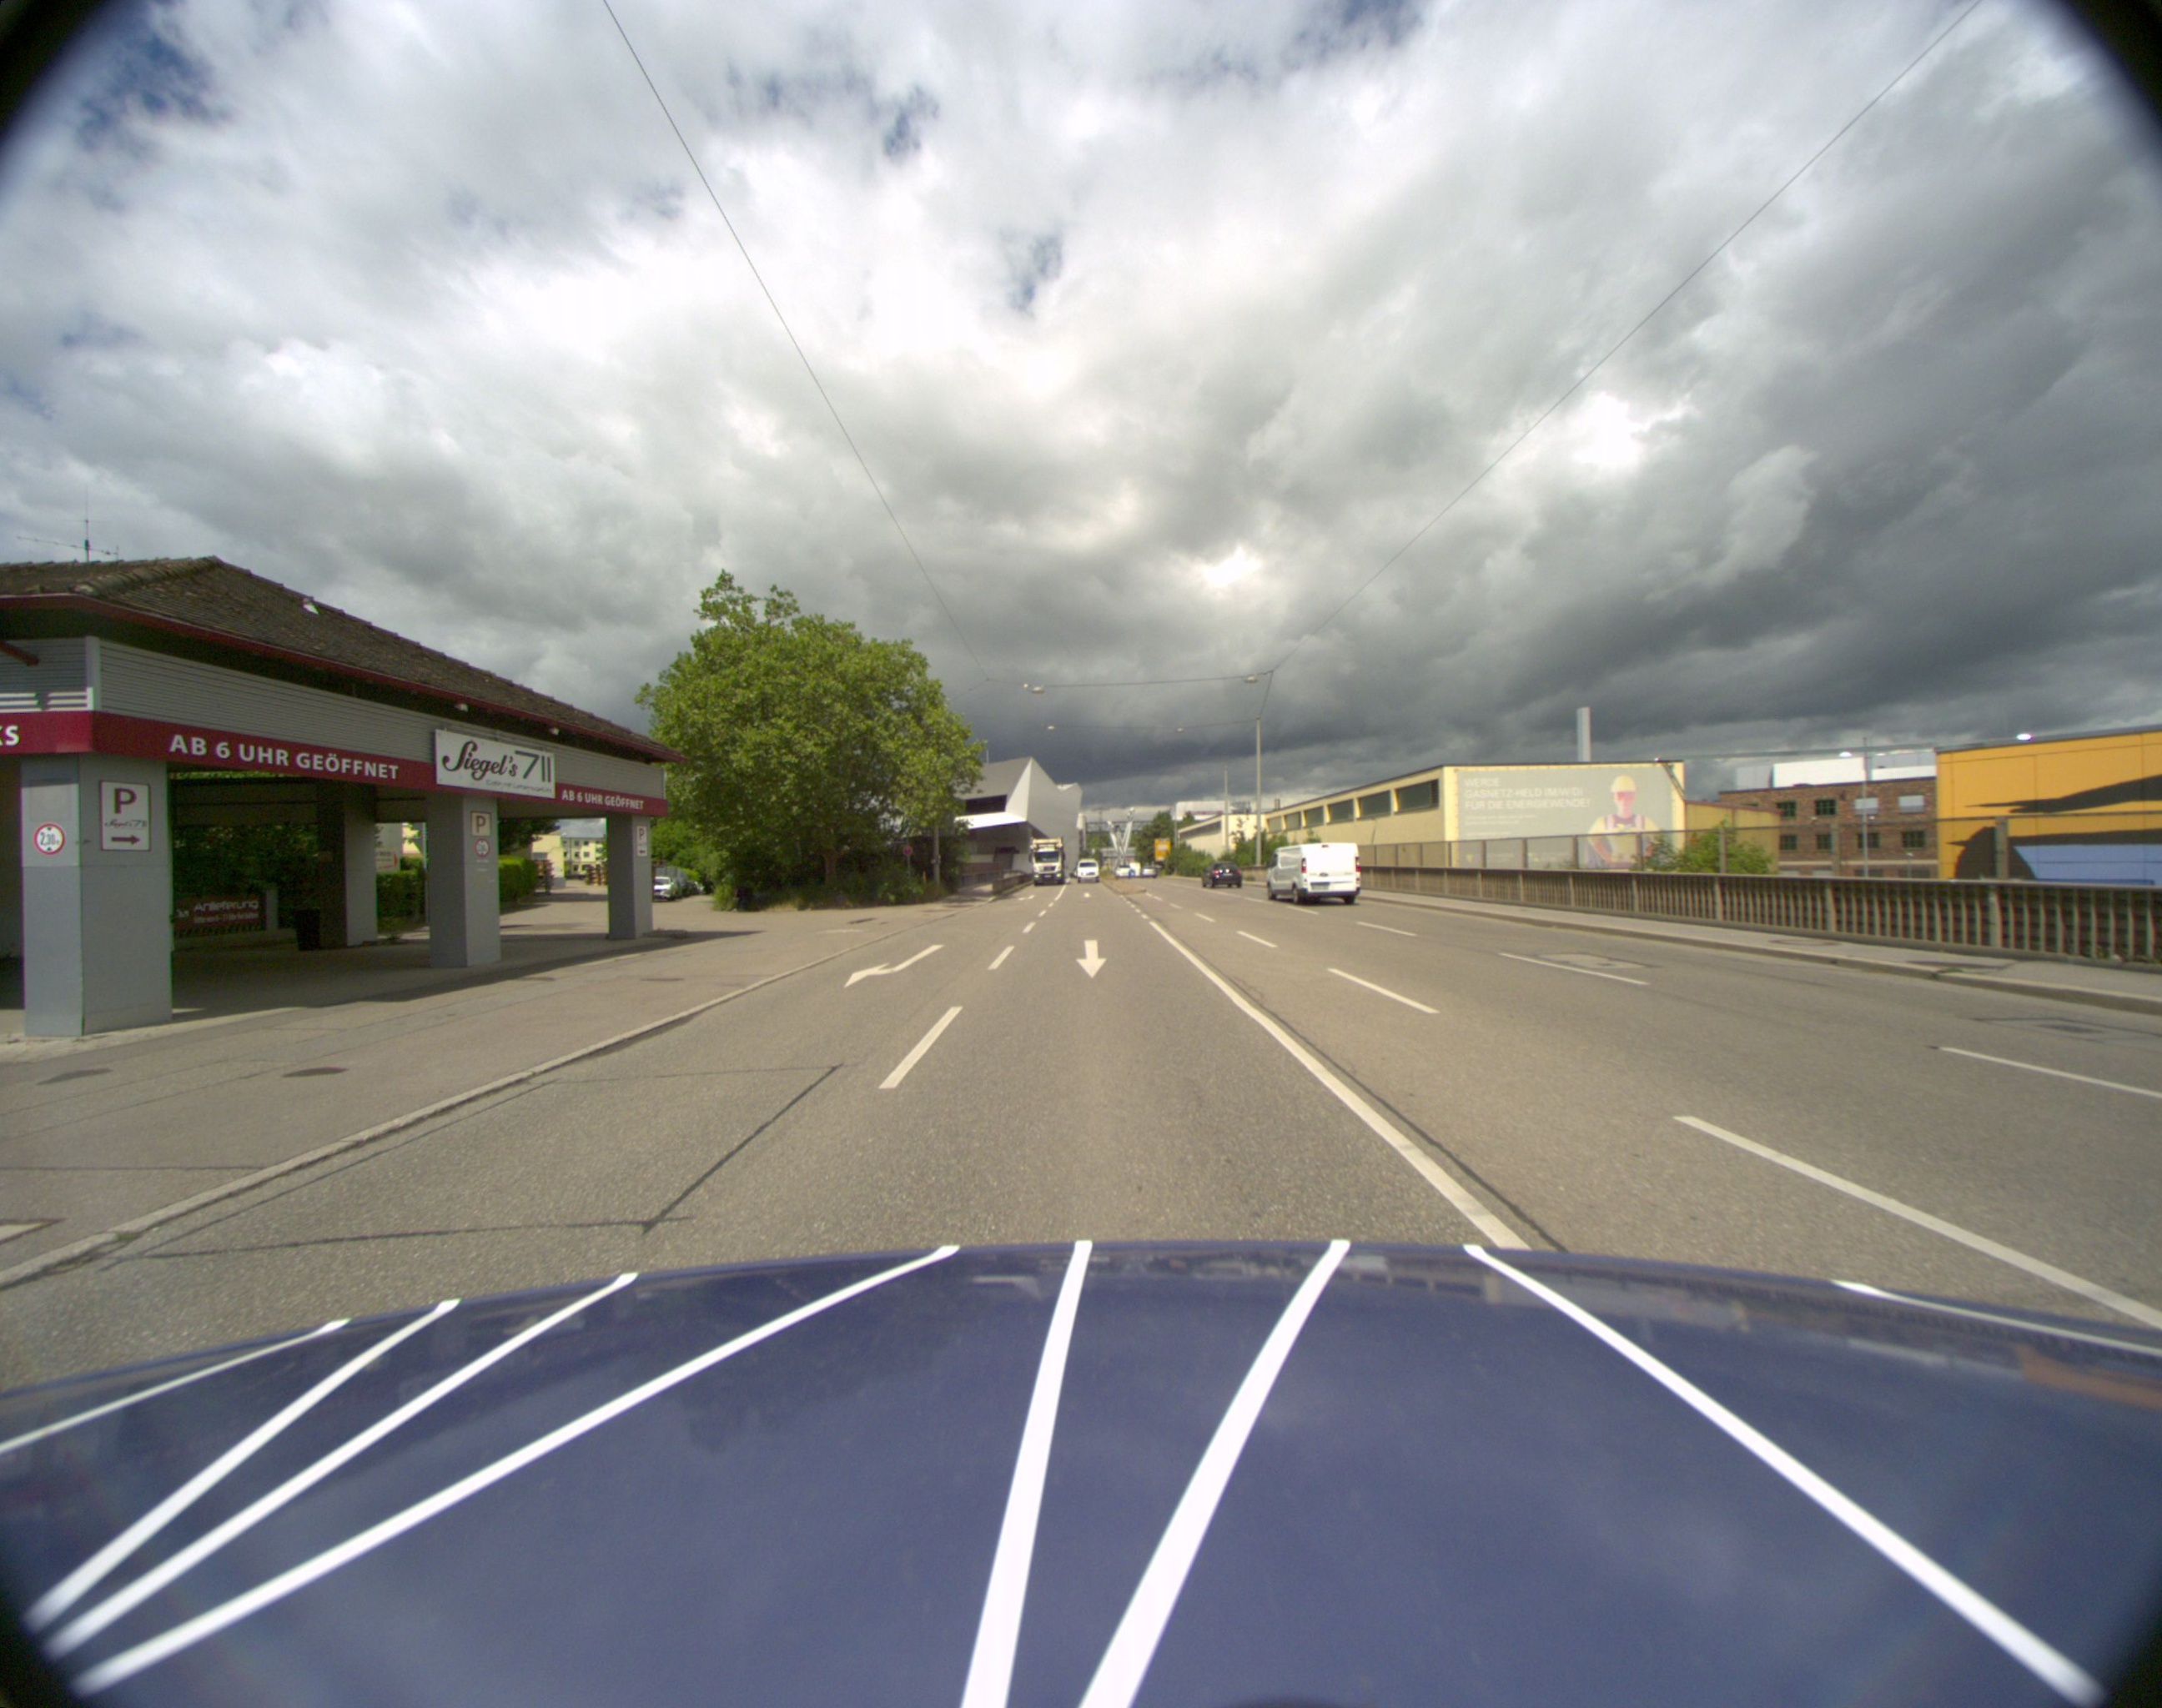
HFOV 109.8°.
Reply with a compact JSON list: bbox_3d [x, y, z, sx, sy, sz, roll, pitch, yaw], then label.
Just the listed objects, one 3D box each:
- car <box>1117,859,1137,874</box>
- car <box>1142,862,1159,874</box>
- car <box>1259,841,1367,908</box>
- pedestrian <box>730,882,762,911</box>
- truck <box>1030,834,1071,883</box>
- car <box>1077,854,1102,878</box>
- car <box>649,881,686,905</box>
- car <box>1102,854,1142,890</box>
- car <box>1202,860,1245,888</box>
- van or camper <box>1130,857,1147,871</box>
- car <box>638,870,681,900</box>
[{"bbox_3d":[4.995,1.354,83.347,1.806,1.543,3.770,-1,0,-2],"label":"car"},{"bbox_3d":[8.094,1.617,88.655,1.612,1.404,3.799,-1,0,-1],"label":"car"},{"bbox_3d":[7.779,0.634,26.084,1.896,2.002,5.650,-1,0,0],"label":"car"},{"bbox_3d":[-15.256,1.932,34.646,0.884,1.241,0.967,-1,0,29],"label":"pedestrian"},{"bbox_3d":[-2.520,0.406,65.287,2.836,3.888,10.368,0,-1,1],"label":"truck"},{"bbox_3d":[0.766,1.027,67.026,1.935,2.078,4.209,-1,0,3],"label":"car"},{"bbox_3d":[-30.643,2.891,56.373,2.003,1.499,3.992,3,-1,-23],"label":"car"},{"bbox_3d":[2.110,0.904,40.053,1.870,1.782,4.207,-1,0,0],"label":"car"},{"bbox_3d":[7.888,1.089,42.386,1.612,1.404,3.799,-1,0,-1],"label":"car"},{"bbox_3d":[9.319,1.567,123.131,2.164,2.108,5.470,-1,0,-1],"label":"van or camper"},{"bbox_3d":[-28.026,2.039,50.606,2.003,1.709,4.104,3,-1,-23],"label":"car"}]
